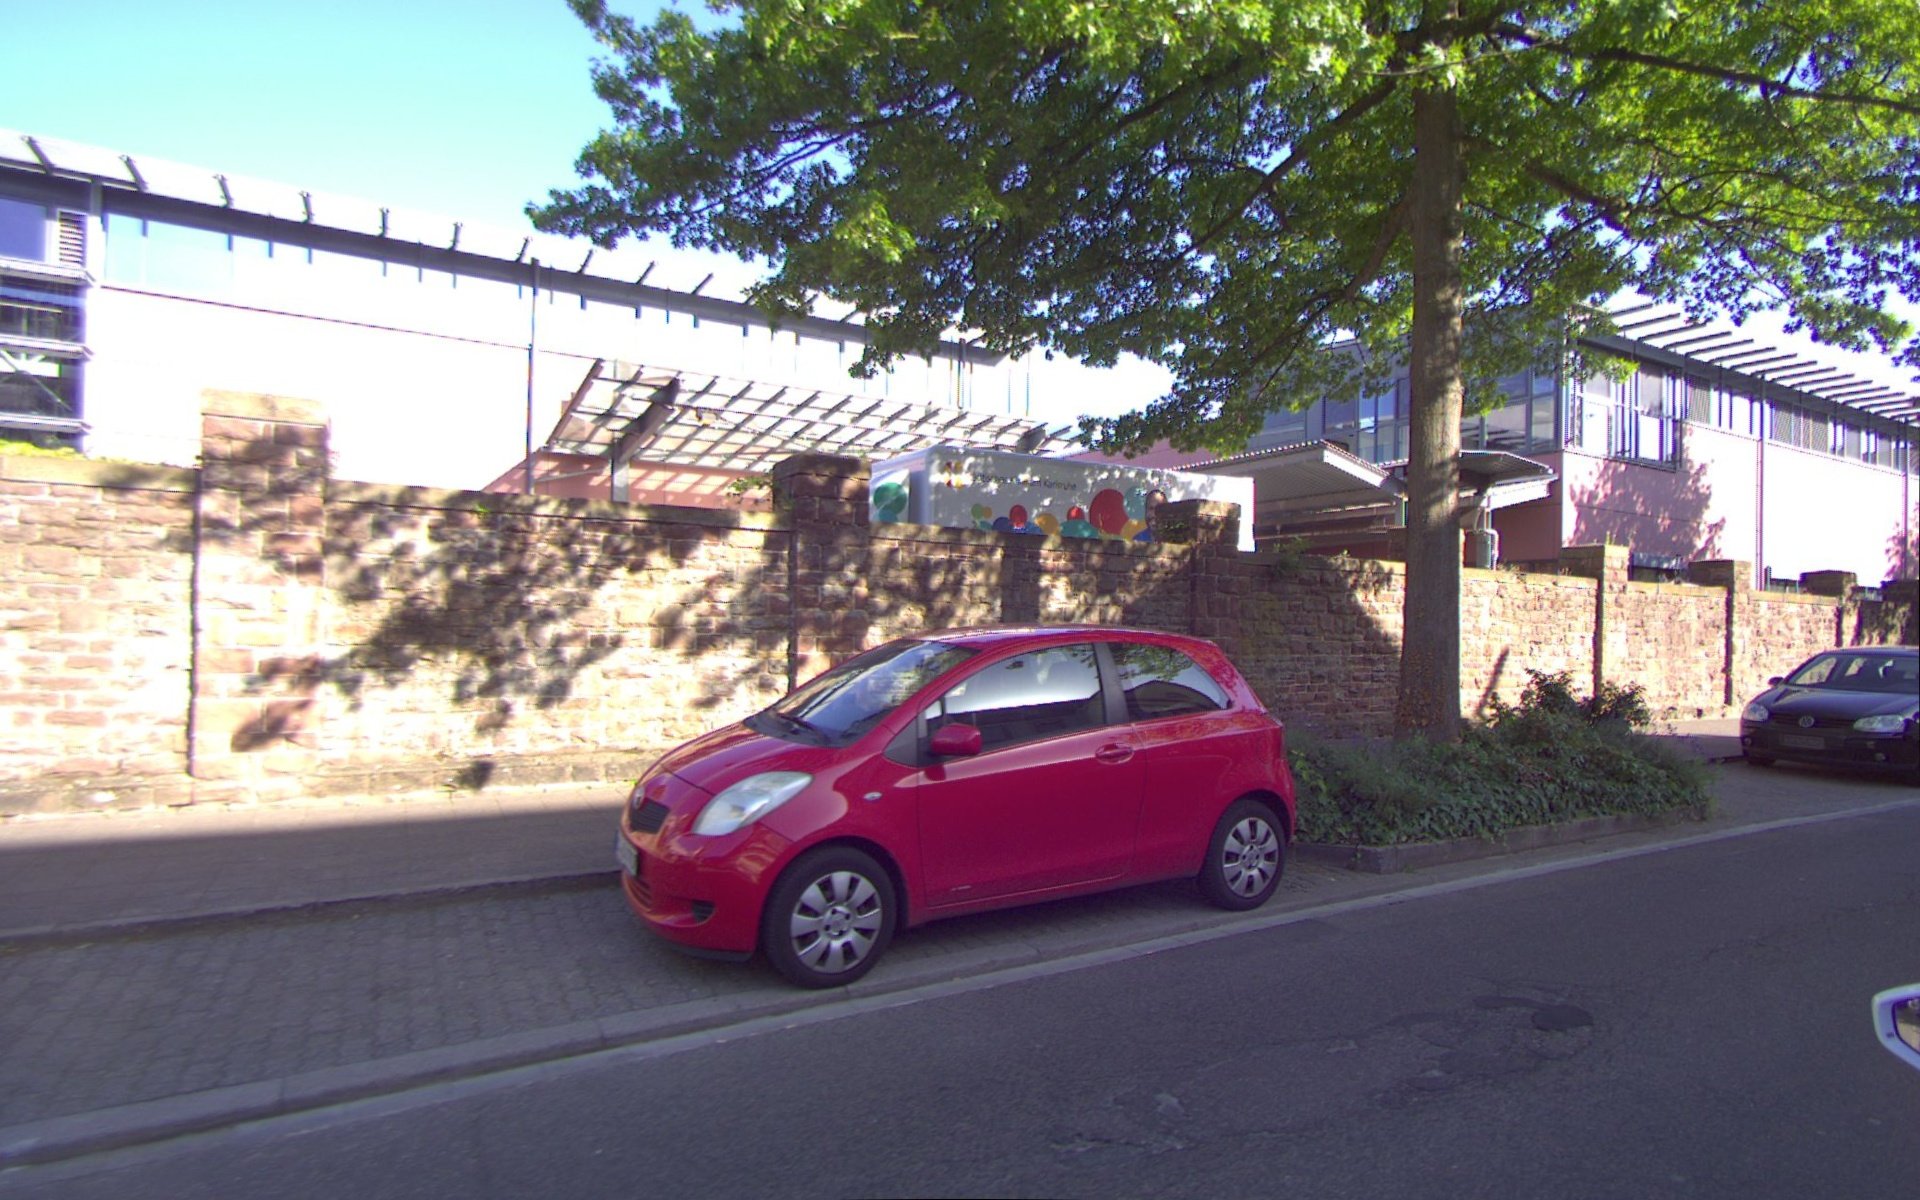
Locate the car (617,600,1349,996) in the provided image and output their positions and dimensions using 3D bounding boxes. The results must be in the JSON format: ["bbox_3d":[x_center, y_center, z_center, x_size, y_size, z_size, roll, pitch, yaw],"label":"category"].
[{"bbox_3d":[0.203,0.821,5.472,3.664,1.478,1.601,2,1,-30],"label":"car"}]

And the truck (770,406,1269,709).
[{"bbox_3d":[1.091,-0.439,15.509,7.342,3.761,2.719,2,1,-31],"label":"truck"}]

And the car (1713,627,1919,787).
[{"bbox_3d":[11.100,1.185,12.109,4.057,1.613,1.730,2,-1,-29],"label":"car"}]
